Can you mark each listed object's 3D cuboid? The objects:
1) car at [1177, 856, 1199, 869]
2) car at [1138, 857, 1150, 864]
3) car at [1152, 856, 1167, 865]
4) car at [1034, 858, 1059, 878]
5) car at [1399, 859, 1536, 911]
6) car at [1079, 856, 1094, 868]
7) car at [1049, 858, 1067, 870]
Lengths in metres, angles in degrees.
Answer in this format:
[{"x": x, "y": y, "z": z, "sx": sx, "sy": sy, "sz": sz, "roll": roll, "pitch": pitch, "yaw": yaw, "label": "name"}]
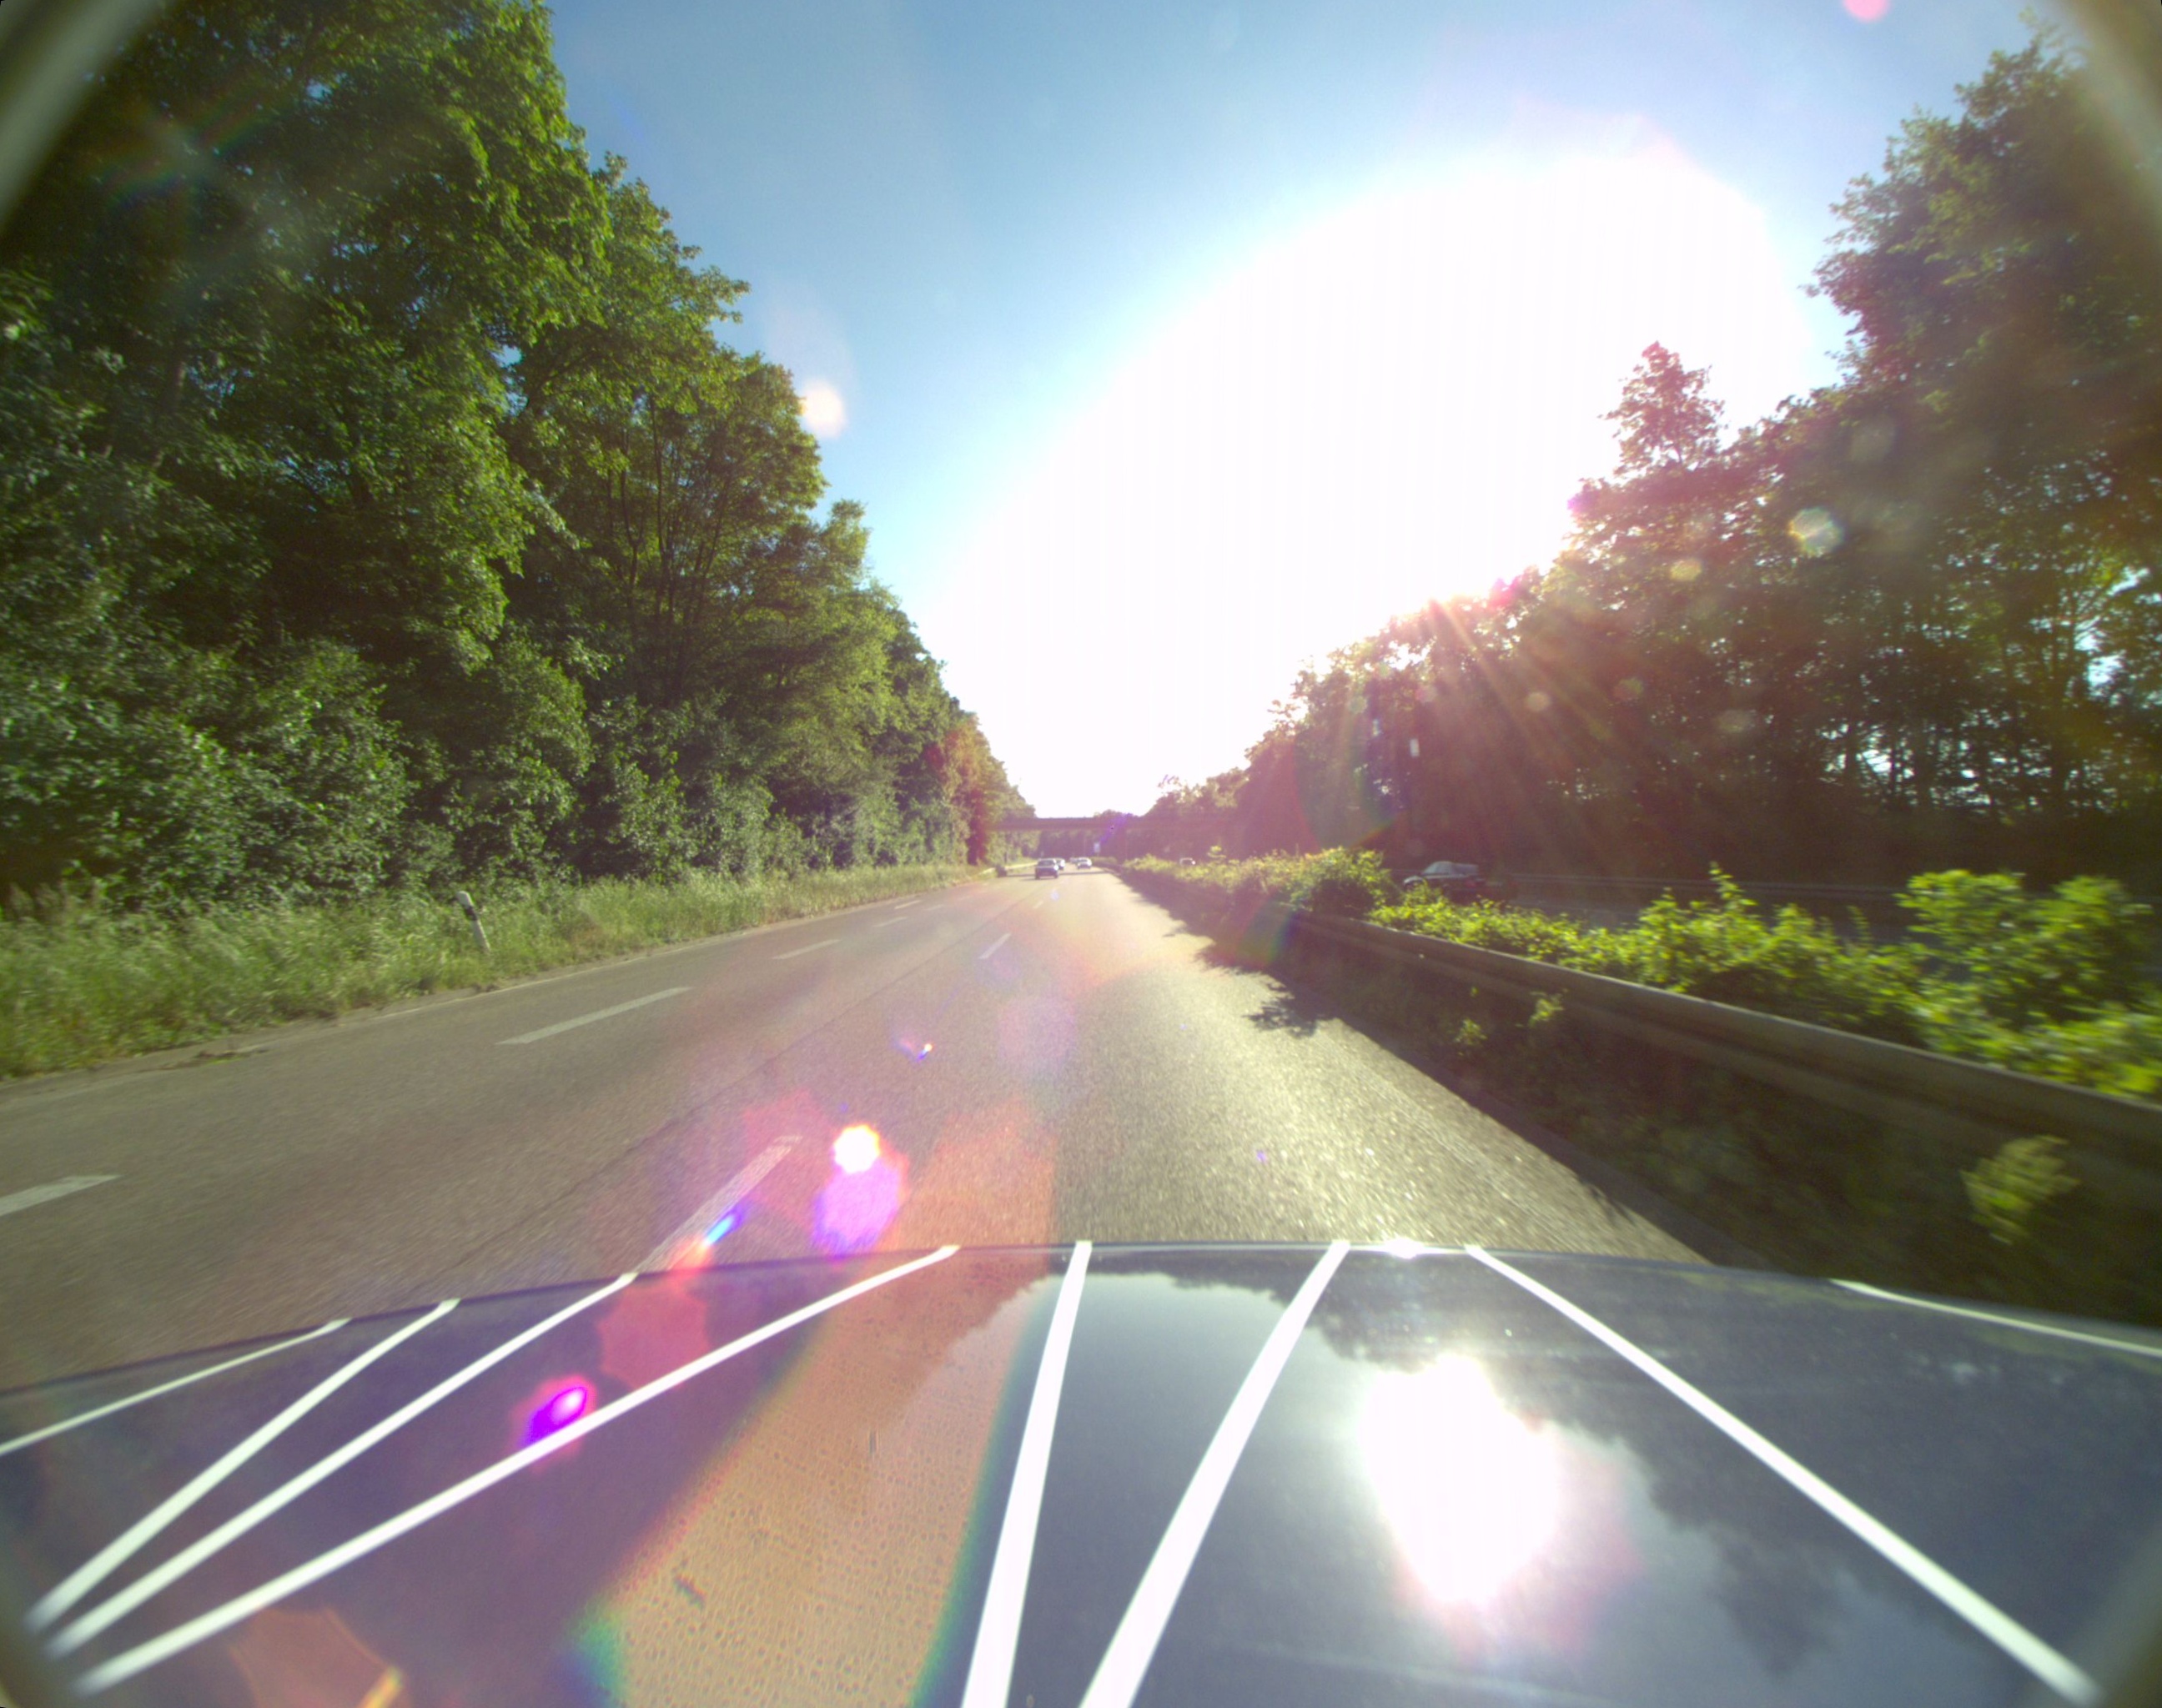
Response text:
[{"x": 12.724, "y": 1.043, "z": 90.369, "sx": 1.966, "sy": 1.441, "sz": 4.326, "roll": -2, "pitch": 0, "yaw": -1, "label": "car"}, {"x": 12.803, "y": 1.275, "z": 153.692, "sx": 1.966, "sy": 1.441, "sz": 4.706, "roll": -1, "pitch": 0, "yaw": 0, "label": "car"}, {"x": 12.963, "y": 1.119, "z": 125.616, "sx": 1.966, "sy": 1.441, "sz": 4.583, "roll": -2, "pitch": 0, "yaw": -1, "label": "car"}, {"x": -2.699, "y": 1.090, "z": 60.883, "sx": 1.801, "sy": 1.453, "sz": 4.355, "roll": -2, "pitch": 0, "yaw": -1, "label": "car"}, {"x": 12.160, "y": 0.902, "z": 24.301, "sx": 1.966, "sy": 1.441, "sz": 4.506, "roll": -2, "pitch": 0, "yaw": -2, "label": "car"}, {"x": 0.735, "y": 1.077, "z": 103.369, "sx": 1.904, "sy": 1.453, "sz": 4.355, "roll": -1, "pitch": 0, "yaw": -1, "label": "car"}, {"x": -2.954, "y": 1.285, "z": 96.626, "sx": 1.802, "sy": 1.453, "sz": 4.353, "roll": -1, "pitch": 0, "yaw": -7, "label": "car"}]
